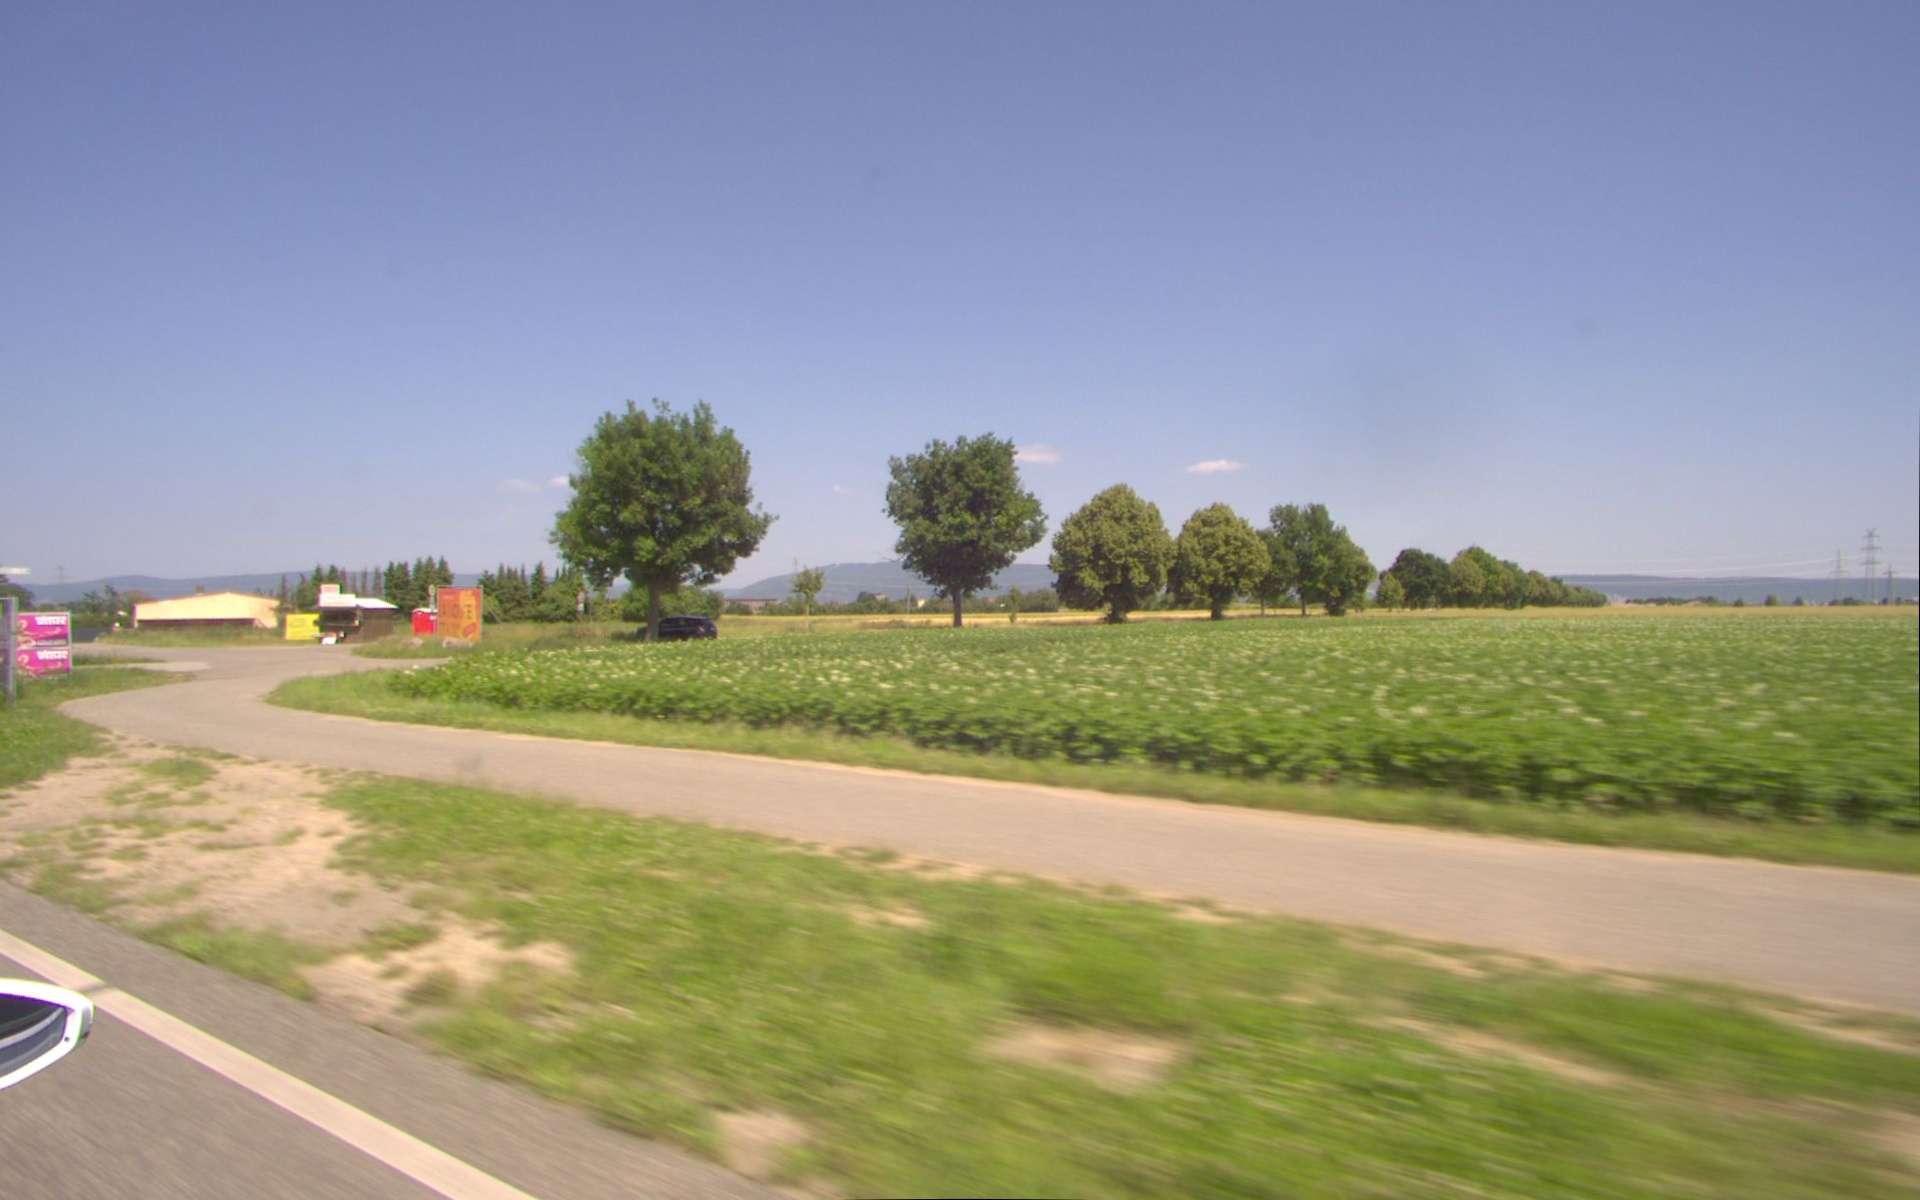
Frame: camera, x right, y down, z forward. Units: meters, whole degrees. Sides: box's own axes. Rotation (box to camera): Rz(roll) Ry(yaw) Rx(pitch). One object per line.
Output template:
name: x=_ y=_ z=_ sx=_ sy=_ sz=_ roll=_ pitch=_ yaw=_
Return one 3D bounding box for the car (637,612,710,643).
car: x=-14.979 y=1.425 z=52.290 sx=3.832 sy=1.547 sz=1.751 roll=0 pitch=-1 yaw=36
